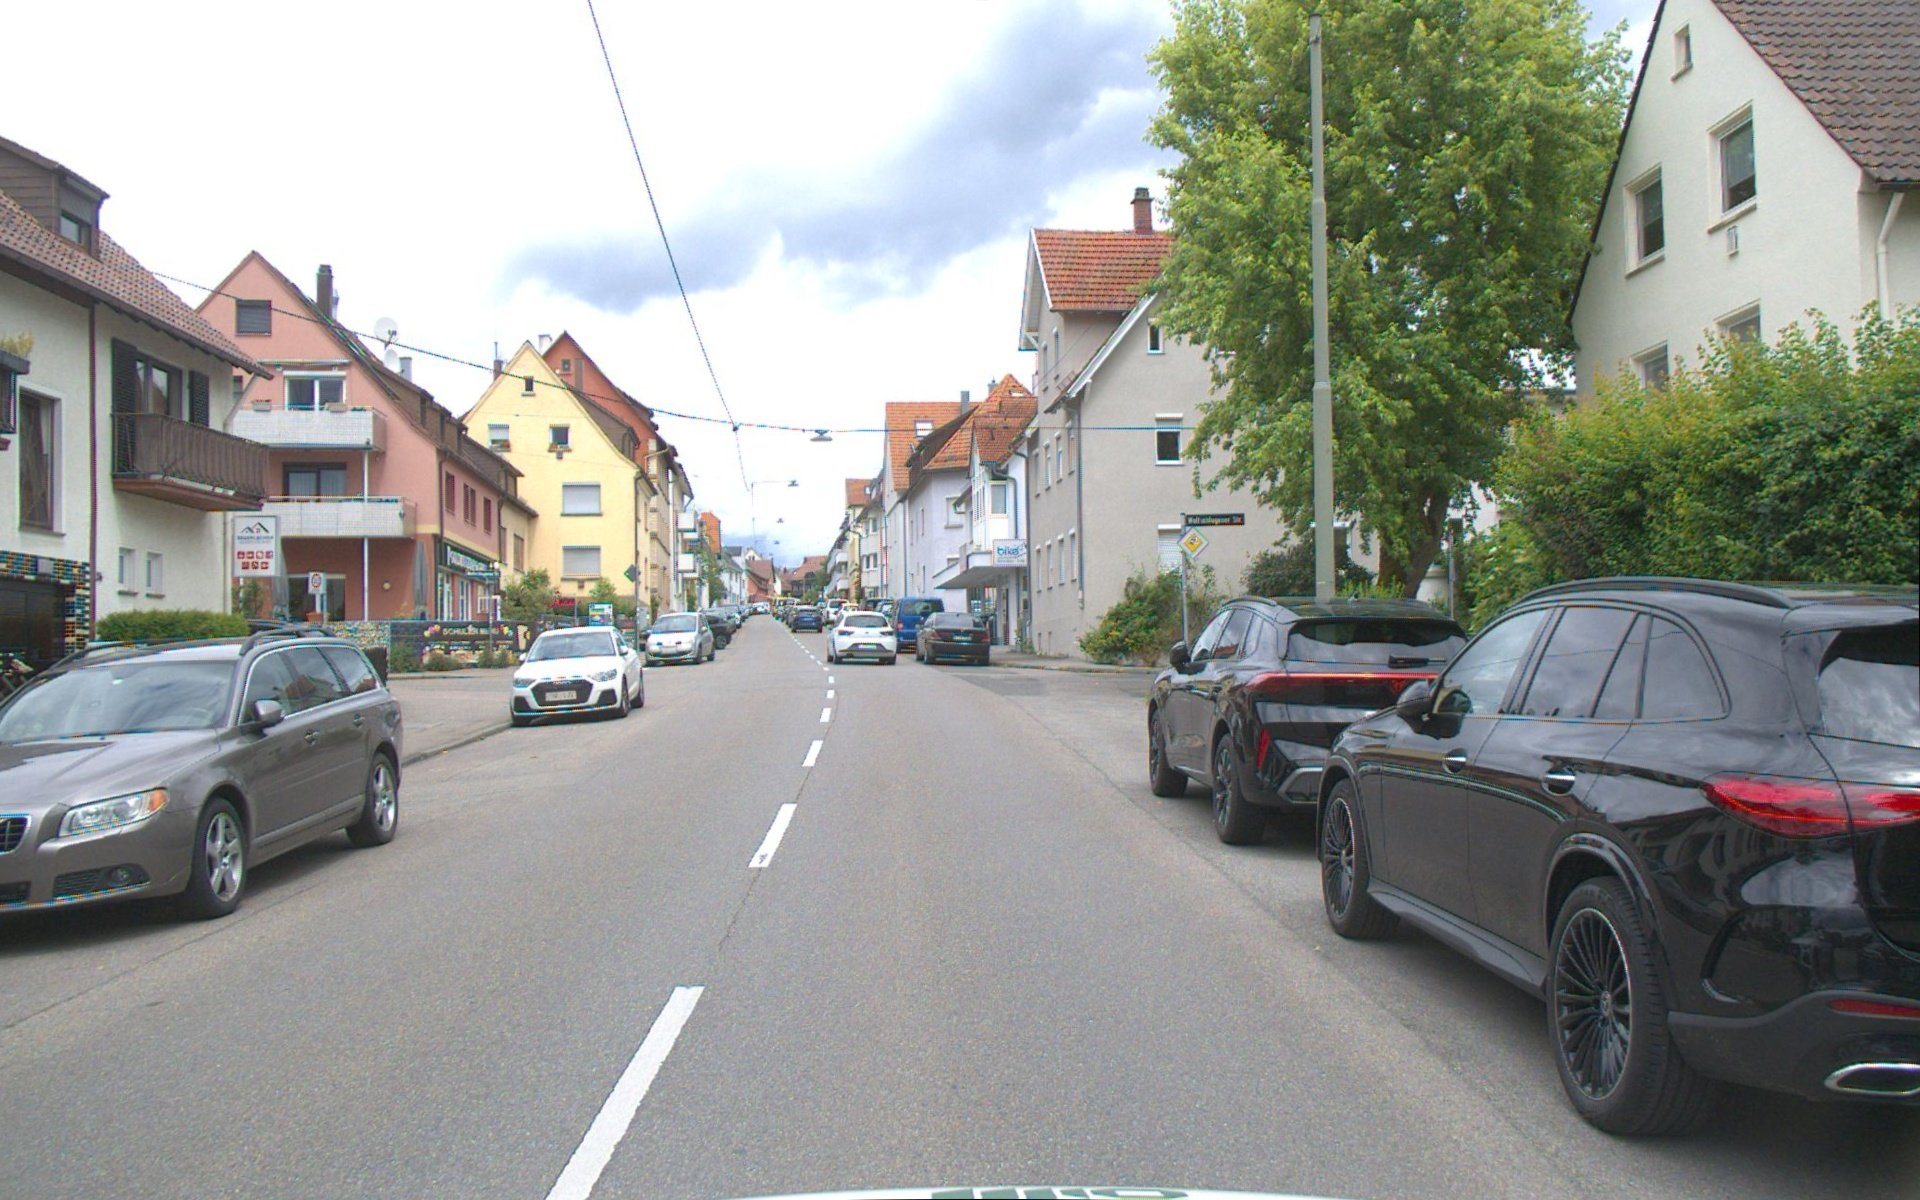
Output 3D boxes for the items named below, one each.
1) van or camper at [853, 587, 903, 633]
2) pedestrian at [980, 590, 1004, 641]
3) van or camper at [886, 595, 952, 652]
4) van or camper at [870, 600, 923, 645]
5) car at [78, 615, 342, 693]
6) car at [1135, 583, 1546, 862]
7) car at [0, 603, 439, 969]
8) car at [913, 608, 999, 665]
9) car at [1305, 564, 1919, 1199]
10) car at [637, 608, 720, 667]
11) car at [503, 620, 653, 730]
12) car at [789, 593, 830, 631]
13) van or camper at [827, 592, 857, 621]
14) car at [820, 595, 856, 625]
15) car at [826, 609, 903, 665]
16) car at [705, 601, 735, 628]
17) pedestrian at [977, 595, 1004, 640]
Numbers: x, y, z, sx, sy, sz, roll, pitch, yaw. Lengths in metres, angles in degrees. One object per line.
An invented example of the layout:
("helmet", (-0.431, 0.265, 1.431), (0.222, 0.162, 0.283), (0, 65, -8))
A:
("van or camper", (-3.992, 0.448, 79.655), (1.956, 2.102, 5.935), (1, 0, -7))
("pedestrian", (1.284, 0.609, 66.328), (0.745, 2.049, 0.618), (-1, 0, 28))
("van or camper", (-1.525, 0.815, 59.991), (1.890, 1.959, 4.822), (0, 0, -8))
("van or camper", (-2.804, 0.956, 72.045), (1.836, 1.861, 4.672), (1, 0, -8))
("car", (-15.127, 1.073, 33.565), (4.427, 1.498, 1.999), (0, 0, -2))
("car", (2.509, 0.748, 12.091), (1.774, 1.643, 4.537), (1, 0, -3))
("car", (-4.881, 0.939, 10.327), (1.810, 1.709, 4.784), (-4, 0, -2))
("car", (-0.169, 1.041, 48.804), (1.956, 1.544, 4.884), (1, 0, -7))
("car", (2.852, 0.762, 6.275), (1.954, 1.643, 4.537), (1, 0, -3))
("car", (-8.767, 1.128, 51.744), (1.796, 1.605, 4.031), (-4, 0, 0))
("car", (-6.047, 1.139, 26.593), (1.693, 1.483, 3.895), (-5, 0, -5))
("car", (-8.493, 0.671, 92.833), (2.112, 2.049, 3.993), (0, 0, -8))
("van or camper", (-8.843, 0.469, 123.550), (1.905, 2.090, 4.553), (0, 0, -9))
("car", (-7.513, 0.618, 101.436), (1.904, 1.722, 3.993), (2, 0, -8))
("car", (-2.730, 0.996, 46.483), (1.904, 1.464, 3.993), (0, 0, -8))
("car", (-14.481, 0.860, 99.959), (1.611, 1.499, 4.172), (-4, 1, -7))
("pedestrian", (1.201, 0.674, 64.743), (0.853, 1.755, 0.618), (-1, 0, 28))
